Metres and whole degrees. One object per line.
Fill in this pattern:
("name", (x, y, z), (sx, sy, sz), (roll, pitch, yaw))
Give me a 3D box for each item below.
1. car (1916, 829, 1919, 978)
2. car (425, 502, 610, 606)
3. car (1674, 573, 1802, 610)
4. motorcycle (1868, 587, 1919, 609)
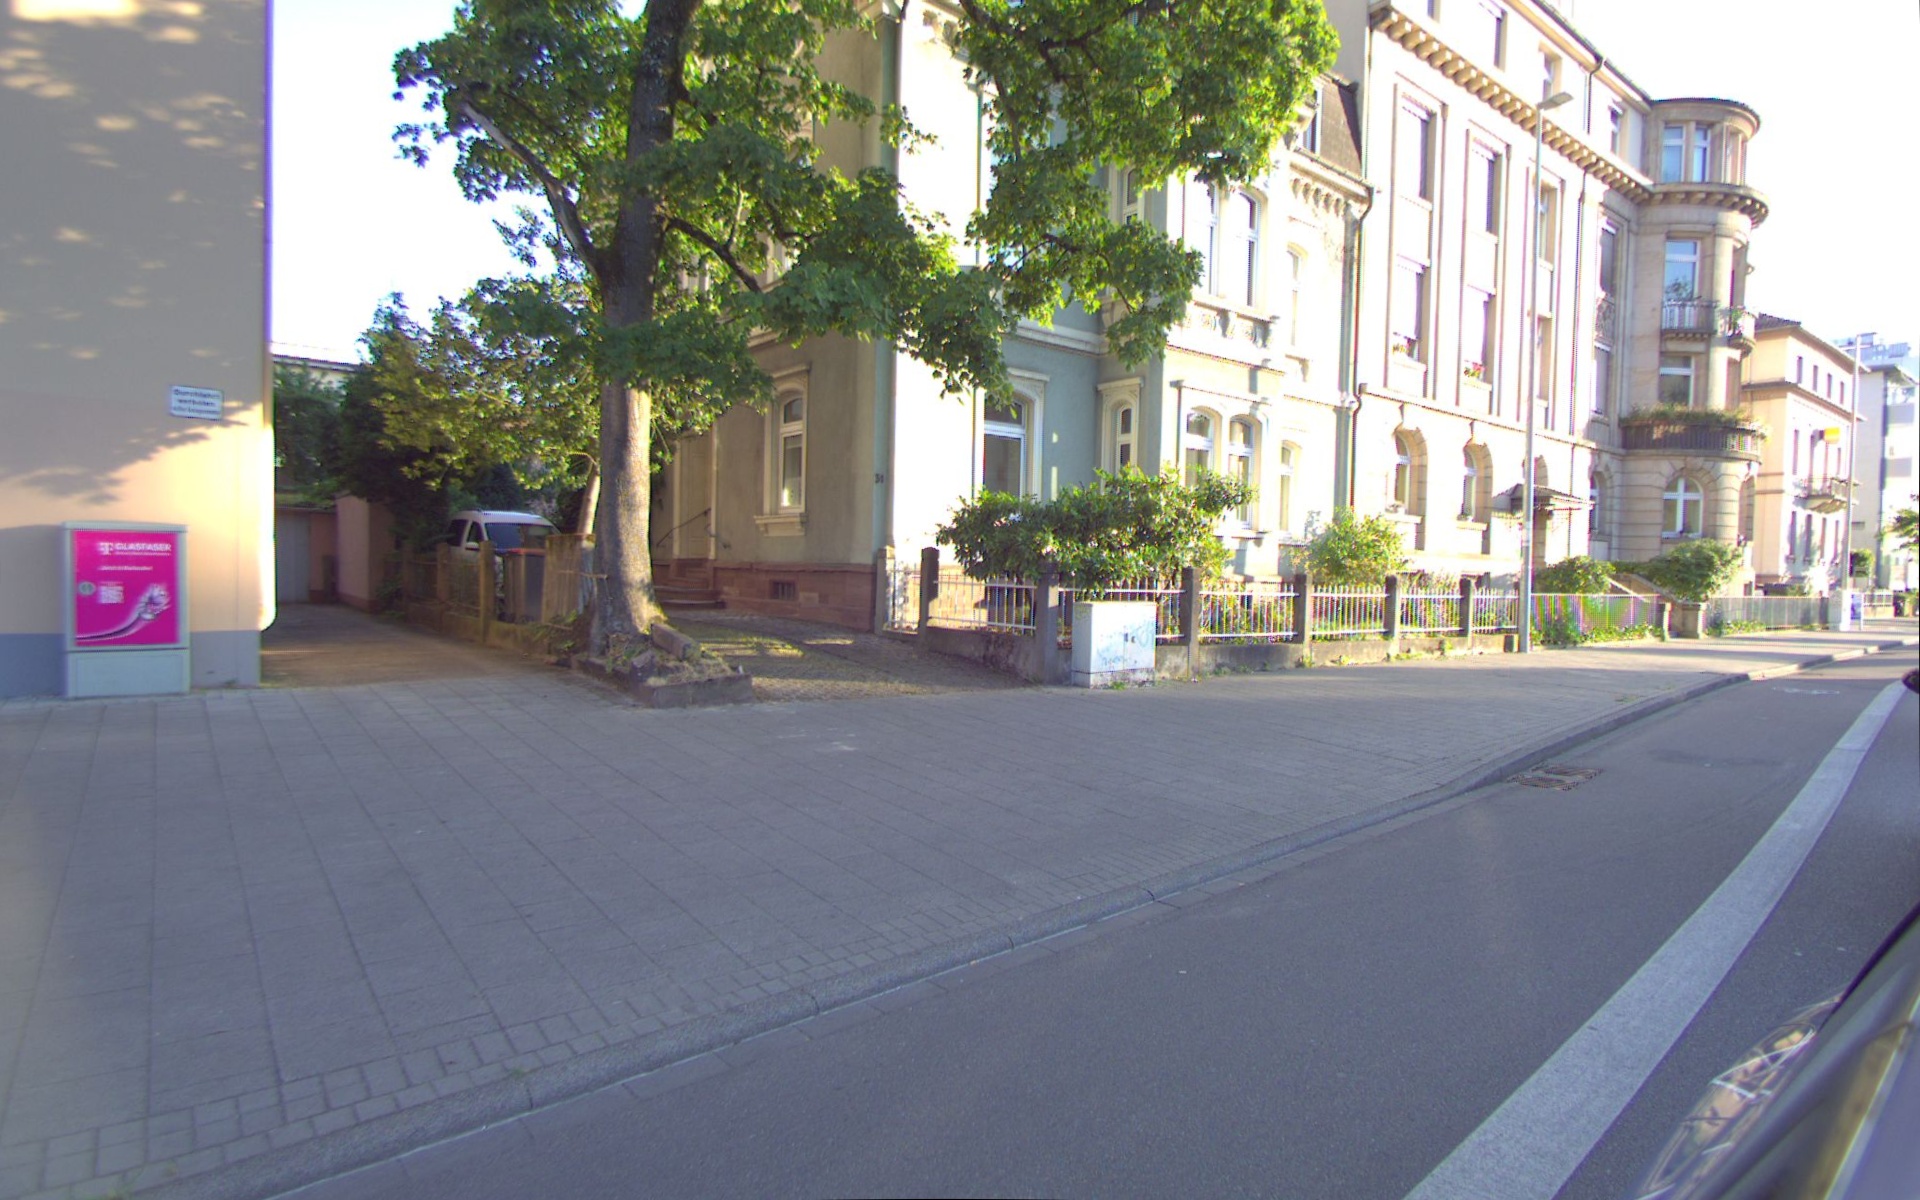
("car", (5.948, 0.588, 4.896), (4.774, 1.679, 1.768), (-1, 2, -45))
("car", (-8.658, -0.930, 19.582), (1.795, 1.778, 4.513), (1, 3, -44))
("car", (34.037, -0.410, 44.342), (1.903, 1.499, 4.098), (0, 2, -38))
("motorcycle", (48.294, -0.114, 52.350), (0.564, 1.110, 1.851), (0, 1, -33))
